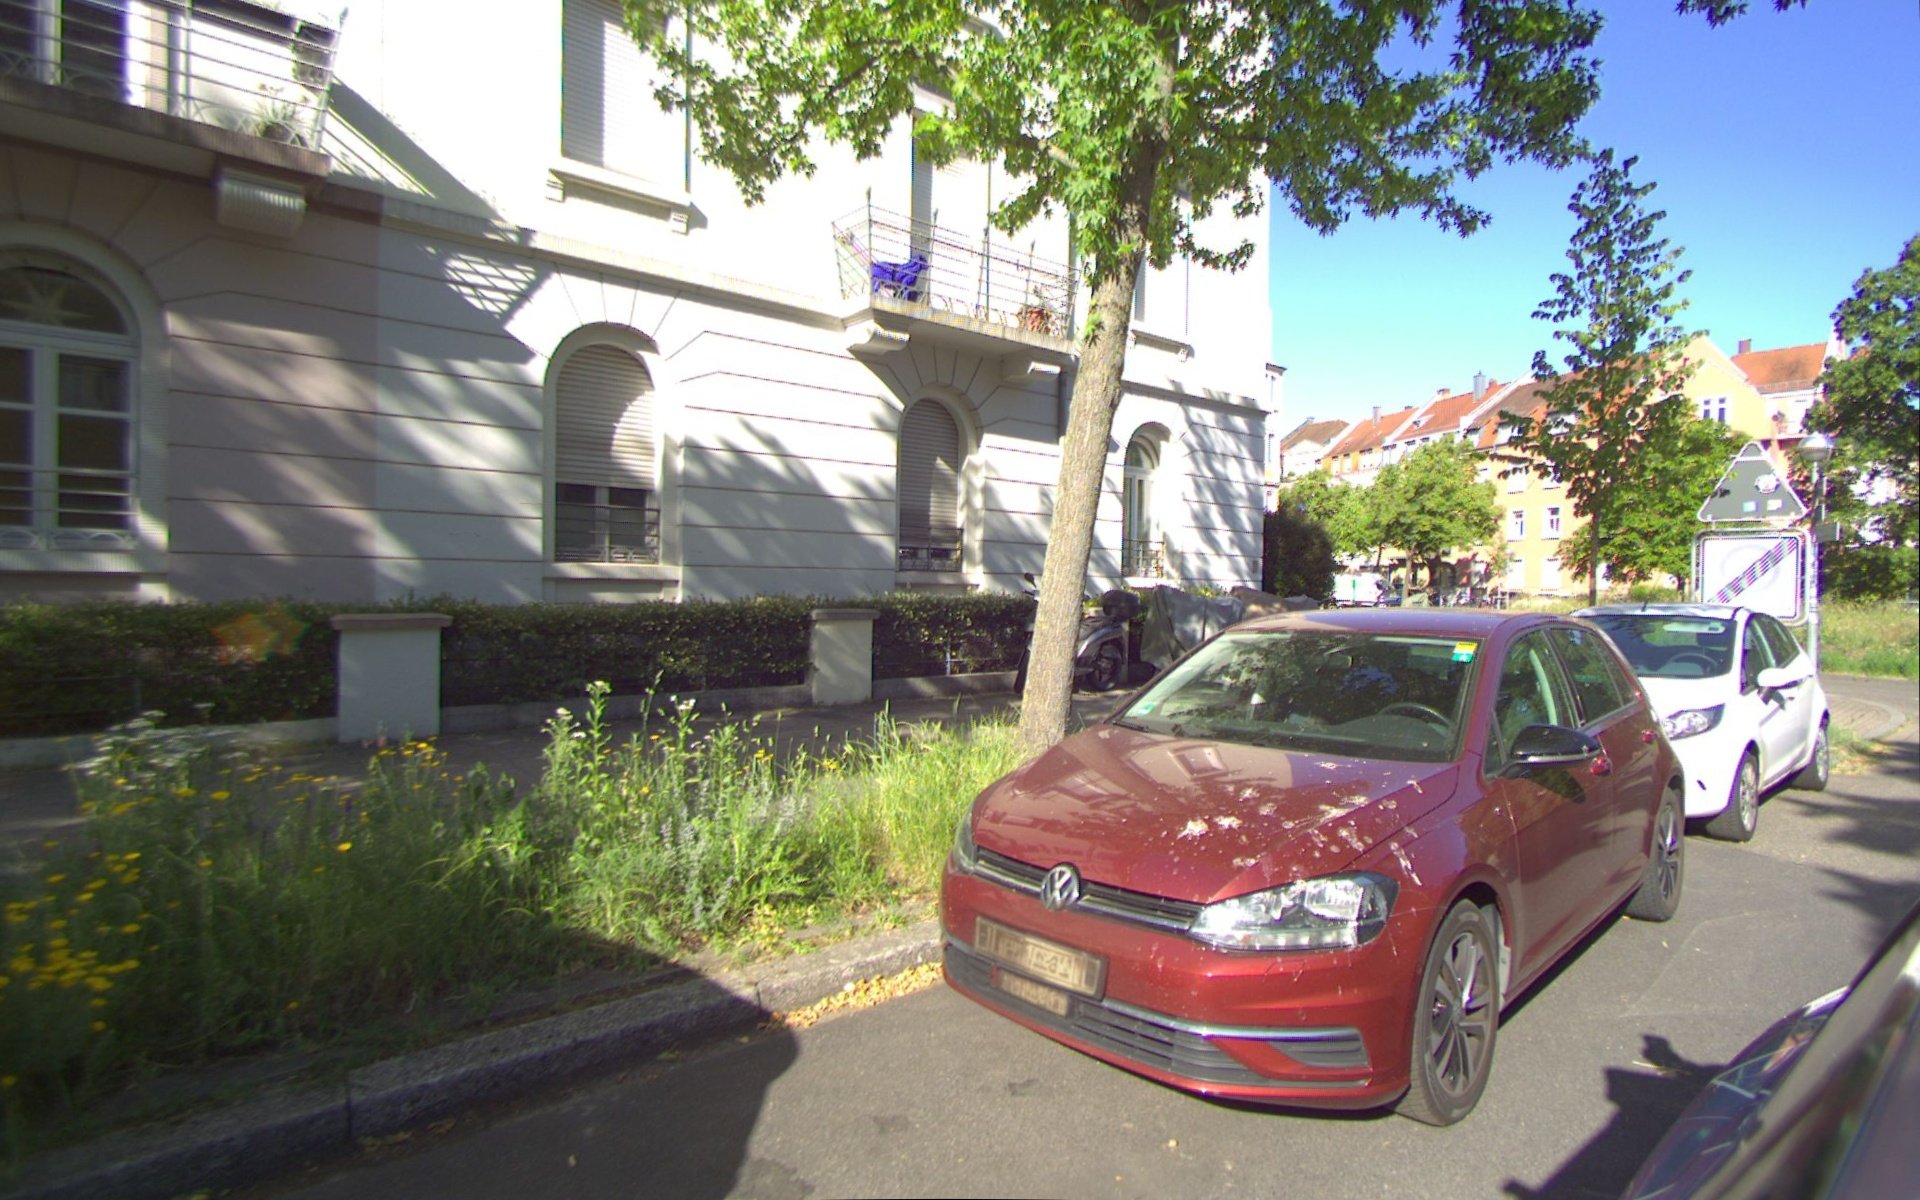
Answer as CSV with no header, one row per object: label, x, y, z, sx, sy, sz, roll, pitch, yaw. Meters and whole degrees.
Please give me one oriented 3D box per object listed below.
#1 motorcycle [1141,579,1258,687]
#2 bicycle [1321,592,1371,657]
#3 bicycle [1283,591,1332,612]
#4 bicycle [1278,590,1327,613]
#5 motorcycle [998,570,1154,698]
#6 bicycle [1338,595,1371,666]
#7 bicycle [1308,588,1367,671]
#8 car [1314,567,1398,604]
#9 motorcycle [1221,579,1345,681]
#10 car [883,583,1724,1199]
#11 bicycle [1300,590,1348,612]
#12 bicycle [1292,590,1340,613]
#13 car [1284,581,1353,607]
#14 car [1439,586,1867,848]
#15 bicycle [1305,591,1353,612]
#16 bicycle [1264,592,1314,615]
motorcycle,3.168,0.400,13.282,0.656,1.295,1.772,4,3,43
bicycle,7.343,0.437,19.290,0.437,1.163,1.776,1,1,7
bicycle,17.769,0.068,51.751,0.642,1.028,2.364,2,1,-39
bicycle,17.304,0.065,51.214,0.642,1.065,2.364,0,1,-39
motorcycle,1.383,0.357,11.802,2.052,1.378,0.540,0,1,-41
bicycle,6.835,0.501,17.503,0.348,1.117,1.557,1,2,28
bicycle,6.022,0.442,16.117,0.325,1.253,1.481,2,2,42
car,27.125,-0.998,69.325,5.148,2.391,2.017,2,1,30
motorcycle,4.618,0.382,14.412,0.971,1.345,1.823,1,1,44
car,1.835,0.673,4.305,4.280,1.427,1.612,0,1,-44
bicycle,18.899,0.051,52.606,0.642,1.065,2.364,0,1,-39
bicycle,18.348,0.069,52.187,0.642,1.066,2.364,1,1,-39
car,21.359,-0.362,60.461,1.958,1.461,4.009,1,1,-13
car,5.319,0.634,7.550,4.063,1.419,1.656,0,1,-41
bicycle,19.357,0.063,53.192,0.642,1.065,2.364,0,1,-39
bicycle,16.494,0.161,50.755,0.642,1.066,2.364,4,-1,-39
